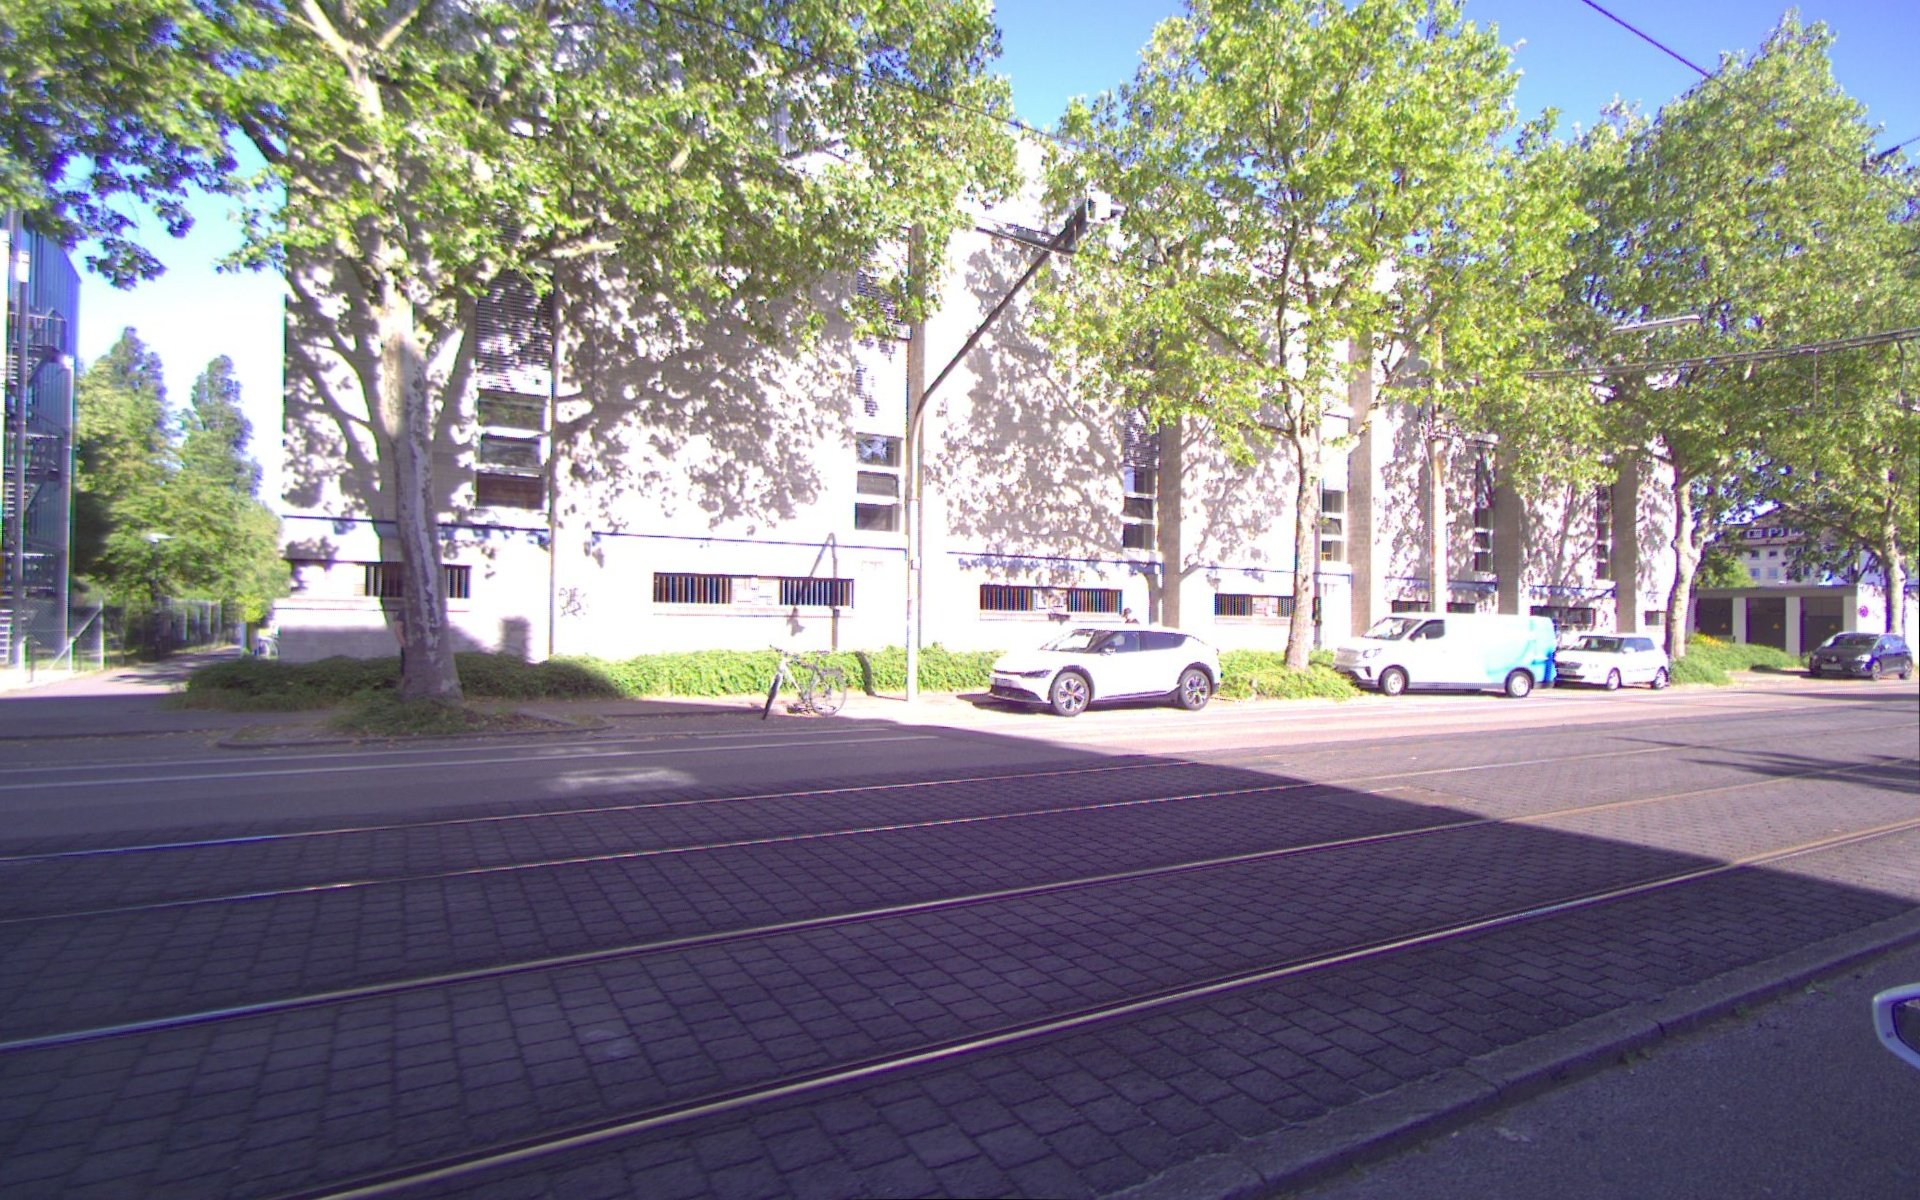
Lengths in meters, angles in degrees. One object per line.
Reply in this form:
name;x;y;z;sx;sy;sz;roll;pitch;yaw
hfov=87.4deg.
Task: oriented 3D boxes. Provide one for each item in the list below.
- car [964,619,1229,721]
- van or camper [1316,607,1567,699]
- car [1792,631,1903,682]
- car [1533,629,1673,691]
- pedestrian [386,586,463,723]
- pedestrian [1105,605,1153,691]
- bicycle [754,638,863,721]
car;2.567;1.198;18.514;4.641;1.593;2.001;1;1;-32
van or camper;11.321;1.230;23.761;5.096;1.976;2.063;1;1;-10
car;31.810;1.995;35.981;3.953;1.688;1.879;1;-1;-30
car;17.668;1.584;27.557;4.042;1.527;1.566;1;1;-30
pedestrian;-7.691;0.752;14.431;0.661;1.895;0.783;2;1;41
pedestrian;3.746;1.051;22.294;0.662;1.844;0.793;1;1;-30
bicycle;-2.410;1.240;16.109;1.638;1.225;0.577;1;1;-37
